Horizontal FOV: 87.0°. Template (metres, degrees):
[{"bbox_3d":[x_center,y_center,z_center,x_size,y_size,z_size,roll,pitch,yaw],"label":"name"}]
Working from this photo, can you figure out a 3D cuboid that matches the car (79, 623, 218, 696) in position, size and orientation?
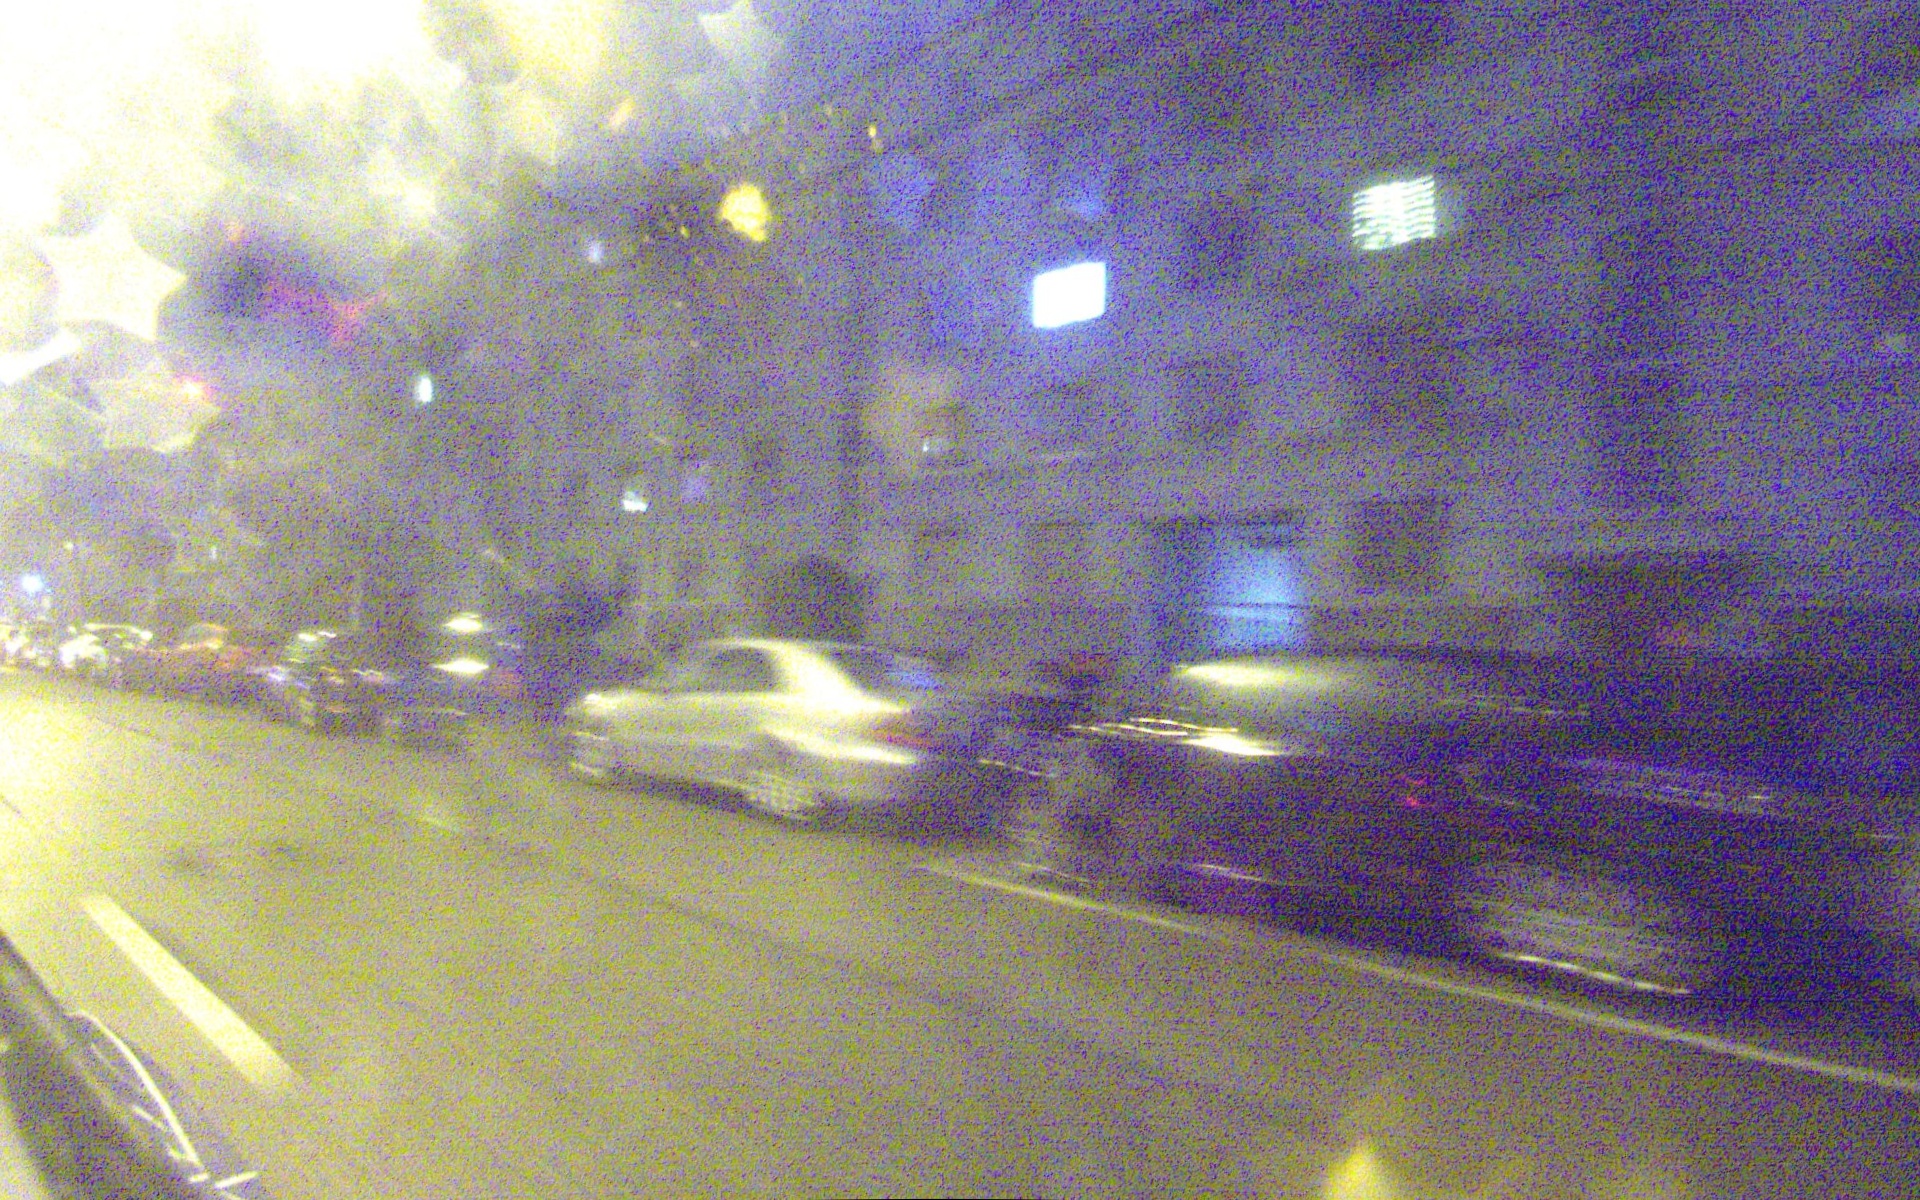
[{"bbox_3d":[-19.629,1.408,24.408,4.386,1.551,1.649,-1,-5,40],"label":"car"}]

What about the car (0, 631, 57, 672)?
[{"bbox_3d":[-35.981,1.930,38.396,4.667,1.429,1.604,0,-3,37],"label":"car"}]

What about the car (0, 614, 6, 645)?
[{"bbox_3d":[-48.245,1.410,49.520,4.394,1.484,1.776,-1,-4,41],"label":"car"}]

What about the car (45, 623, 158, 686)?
[{"bbox_3d":[-23.639,1.468,27.818,4.389,1.551,1.648,-1,-5,41],"label":"car"}]

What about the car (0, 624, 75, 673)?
[{"bbox_3d":[-32.062,1.652,34.997,4.390,1.551,1.648,-1,-4,42],"label":"car"}]

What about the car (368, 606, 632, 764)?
[{"bbox_3d":[-5.578,0.952,12.138,3.371,1.632,1.459,-1,-5,39],"label":"car"}]

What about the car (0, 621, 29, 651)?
[{"bbox_3d":[-43.876,1.613,46.094,4.638,1.278,1.818,-1,-4,43],"label":"car"}]

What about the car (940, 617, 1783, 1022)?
[{"bbox_3d":[1.941,0.878,5.576,4.001,1.442,1.582,-1,-5,39],"label":"car"}]

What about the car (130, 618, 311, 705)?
[{"bbox_3d":[-15.500,1.253,21.150,4.383,1.610,1.730,0,-5,37],"label":"car"}]

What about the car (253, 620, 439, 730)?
[{"bbox_3d":[-9.309,1.082,15.249,3.373,1.471,1.416,-1,-5,42],"label":"car"}]

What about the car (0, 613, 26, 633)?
[{"bbox_3d":[-85.628,1.974,89.224,4.472,1.719,1.855,3,-3,-35],"label":"car"}]

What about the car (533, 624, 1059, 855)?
[{"bbox_3d":[-1.662,1.012,8.814,4.929,1.468,1.620,-1,-5,40],"label":"car"}]

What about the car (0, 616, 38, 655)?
[{"bbox_3d":[-40.268,1.451,42.622,4.058,1.551,1.688,-1,-5,42],"label":"car"}]

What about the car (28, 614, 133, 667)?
[{"bbox_3d":[-27.243,1.236,31.306,4.386,1.551,1.649,-1,-4,39],"label":"car"}]
